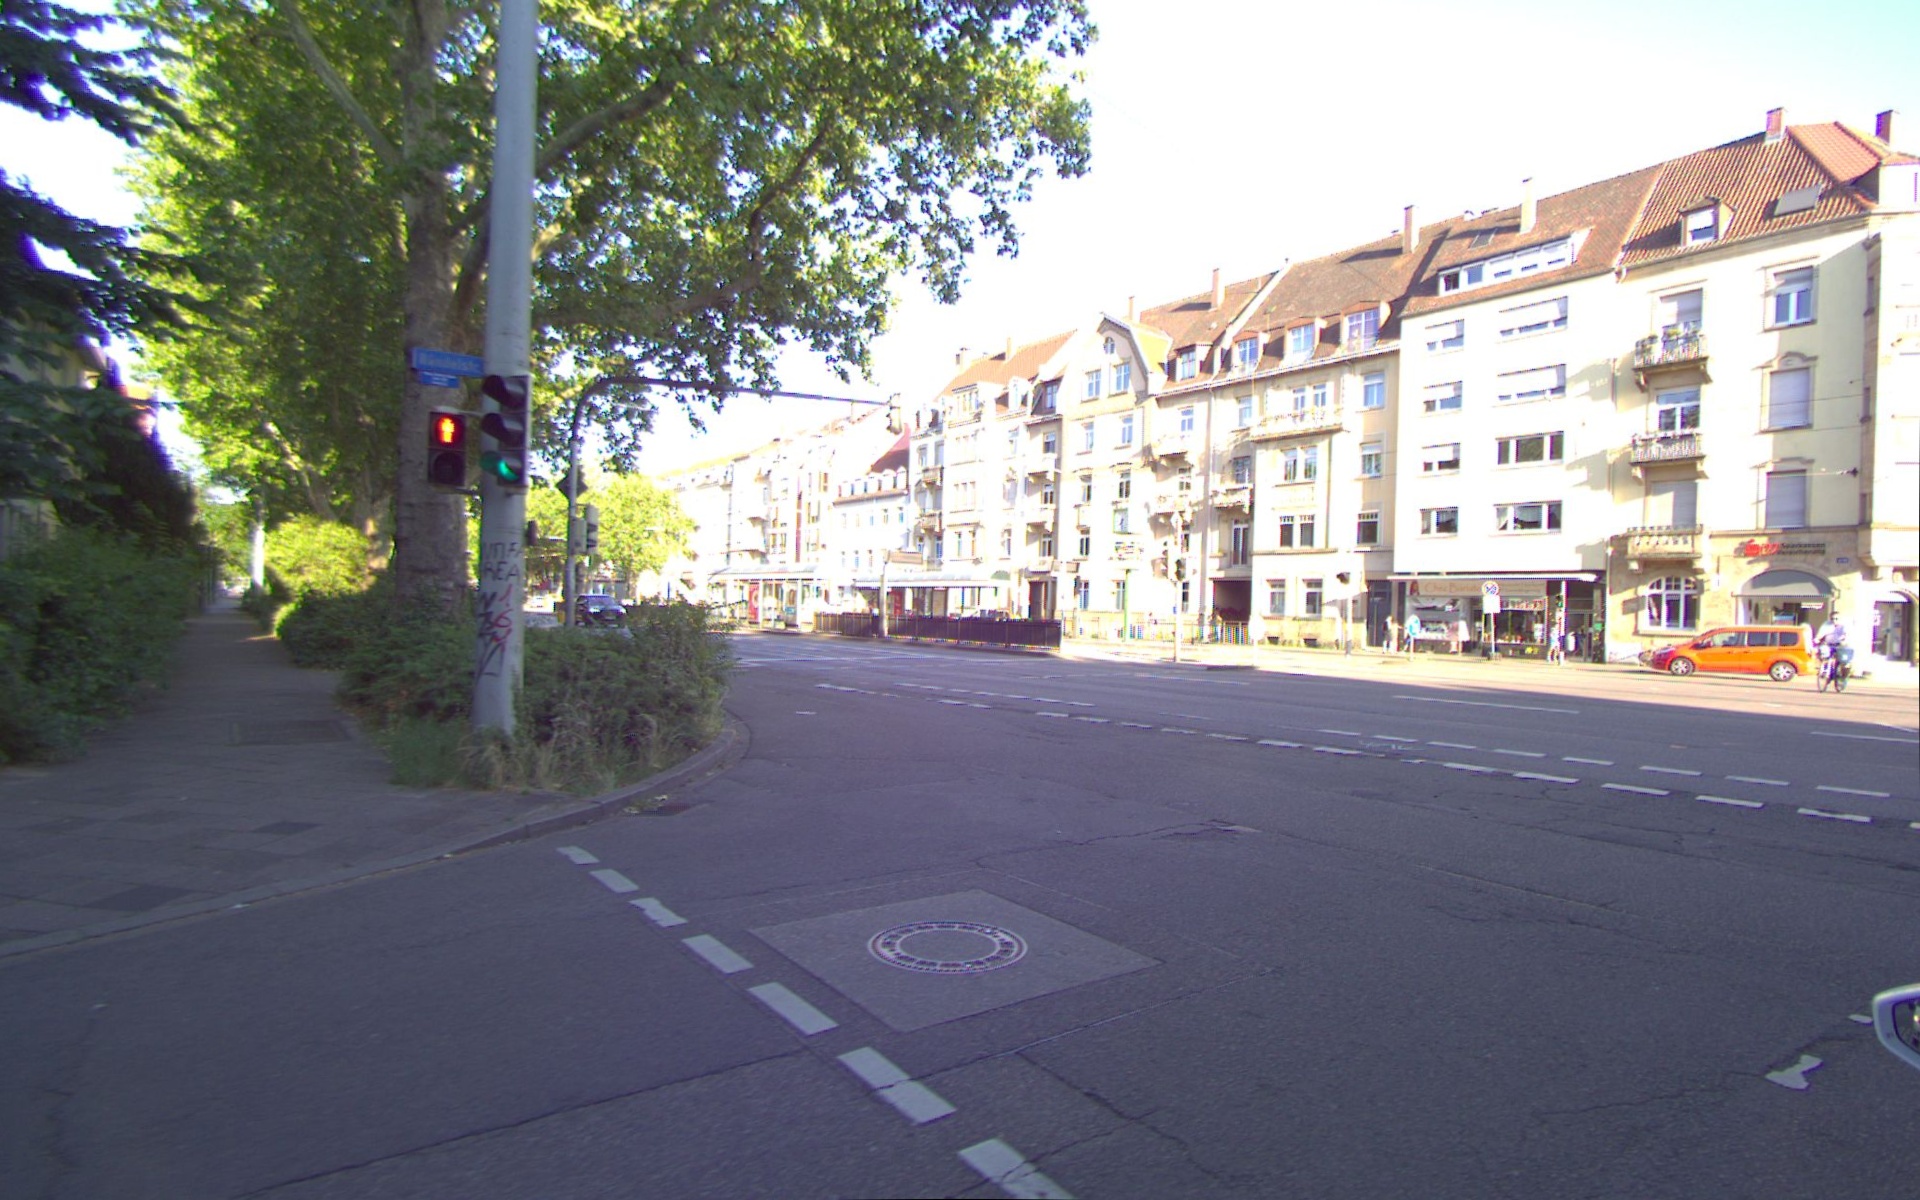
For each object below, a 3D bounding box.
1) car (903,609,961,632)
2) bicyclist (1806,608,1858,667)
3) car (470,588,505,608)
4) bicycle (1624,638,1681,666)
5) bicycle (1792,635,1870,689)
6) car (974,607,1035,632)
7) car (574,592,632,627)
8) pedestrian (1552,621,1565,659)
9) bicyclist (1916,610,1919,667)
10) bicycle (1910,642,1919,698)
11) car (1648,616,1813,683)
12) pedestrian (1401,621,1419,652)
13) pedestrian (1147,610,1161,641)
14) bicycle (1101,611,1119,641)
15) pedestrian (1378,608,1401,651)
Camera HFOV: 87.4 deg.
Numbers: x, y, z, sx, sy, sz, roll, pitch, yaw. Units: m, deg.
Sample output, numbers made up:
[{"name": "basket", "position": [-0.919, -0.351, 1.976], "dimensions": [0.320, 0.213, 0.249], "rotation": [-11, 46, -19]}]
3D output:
[{"name": "car", "position": [-1.952, 1.472, 70.997], "dimensions": [3.677, 1.483, 1.925], "rotation": [2, 0, -41]}, {"name": "bicyclist", "position": [19.478, 0.836, 22.432], "dimensions": [0.759, 1.252, 0.654], "rotation": [2, 1, -33]}, {"name": "car", "position": [-39.425, -0.165, 83.807], "dimensions": [1.862, 1.617, 3.958], "rotation": [2, 0, -36]}, {"name": "bicycle", "position": [27.538, 2.061, 39.943], "dimensions": [0.488, 1.042, 1.793], "rotation": [1, 0, -38]}, {"name": "bicycle", "position": [19.466, 1.381, 22.439], "dimensions": [2.526, 1.120, 0.646], "rotation": [2, 0, -34]}, {"name": "car", "position": [2.946, 1.273, 66.088], "dimensions": [3.677, 1.483, 1.925], "rotation": [2, 0, -41]}, {"name": "car", "position": [-17.820, 0.475, 50.110], "dimensions": [1.859, 1.617, 3.964], "rotation": [2, 0, -33]}, {"name": "pedestrian", "position": [25.255, 1.695, 42.378], "dimensions": [0.343, 1.601, 0.316], "rotation": [1, 0, -28]}, {"name": "bicyclist", "position": [20.335, 0.811, 20.783], "dimensions": [0.759, 1.173, 0.606], "rotation": [2, 1, -33]}, {"name": "bicycle", "position": [20.376, 1.427, 20.762], "dimensions": [1.904, 1.120, 0.646], "rotation": [0, 2, -34]}, {"name": "car", "position": [25.821, 1.607, 33.795], "dimensions": [4.242, 1.925, 1.913], "rotation": [3, 0, 39]}, {"name": "pedestrian", "position": [21.029, 1.702, 46.951], "dimensions": [0.549, 1.380, 0.549], "rotation": [1, 0, -37]}, {"name": "pedestrian", "position": [11.668, 1.528, 60.360], "dimensions": [0.634, 1.862, 0.472], "rotation": [2, 1, -35]}, {"name": "bicycle", "position": [9.150, 1.582, 61.353], "dimensions": [0.554, 1.760, 0.881], "rotation": [2, 1, -33]}, {"name": "pedestrian", "position": [20.358, 1.397, 47.616], "dimensions": [0.759, 2.040, 0.664], "rotation": [1, 0, -28]}]
